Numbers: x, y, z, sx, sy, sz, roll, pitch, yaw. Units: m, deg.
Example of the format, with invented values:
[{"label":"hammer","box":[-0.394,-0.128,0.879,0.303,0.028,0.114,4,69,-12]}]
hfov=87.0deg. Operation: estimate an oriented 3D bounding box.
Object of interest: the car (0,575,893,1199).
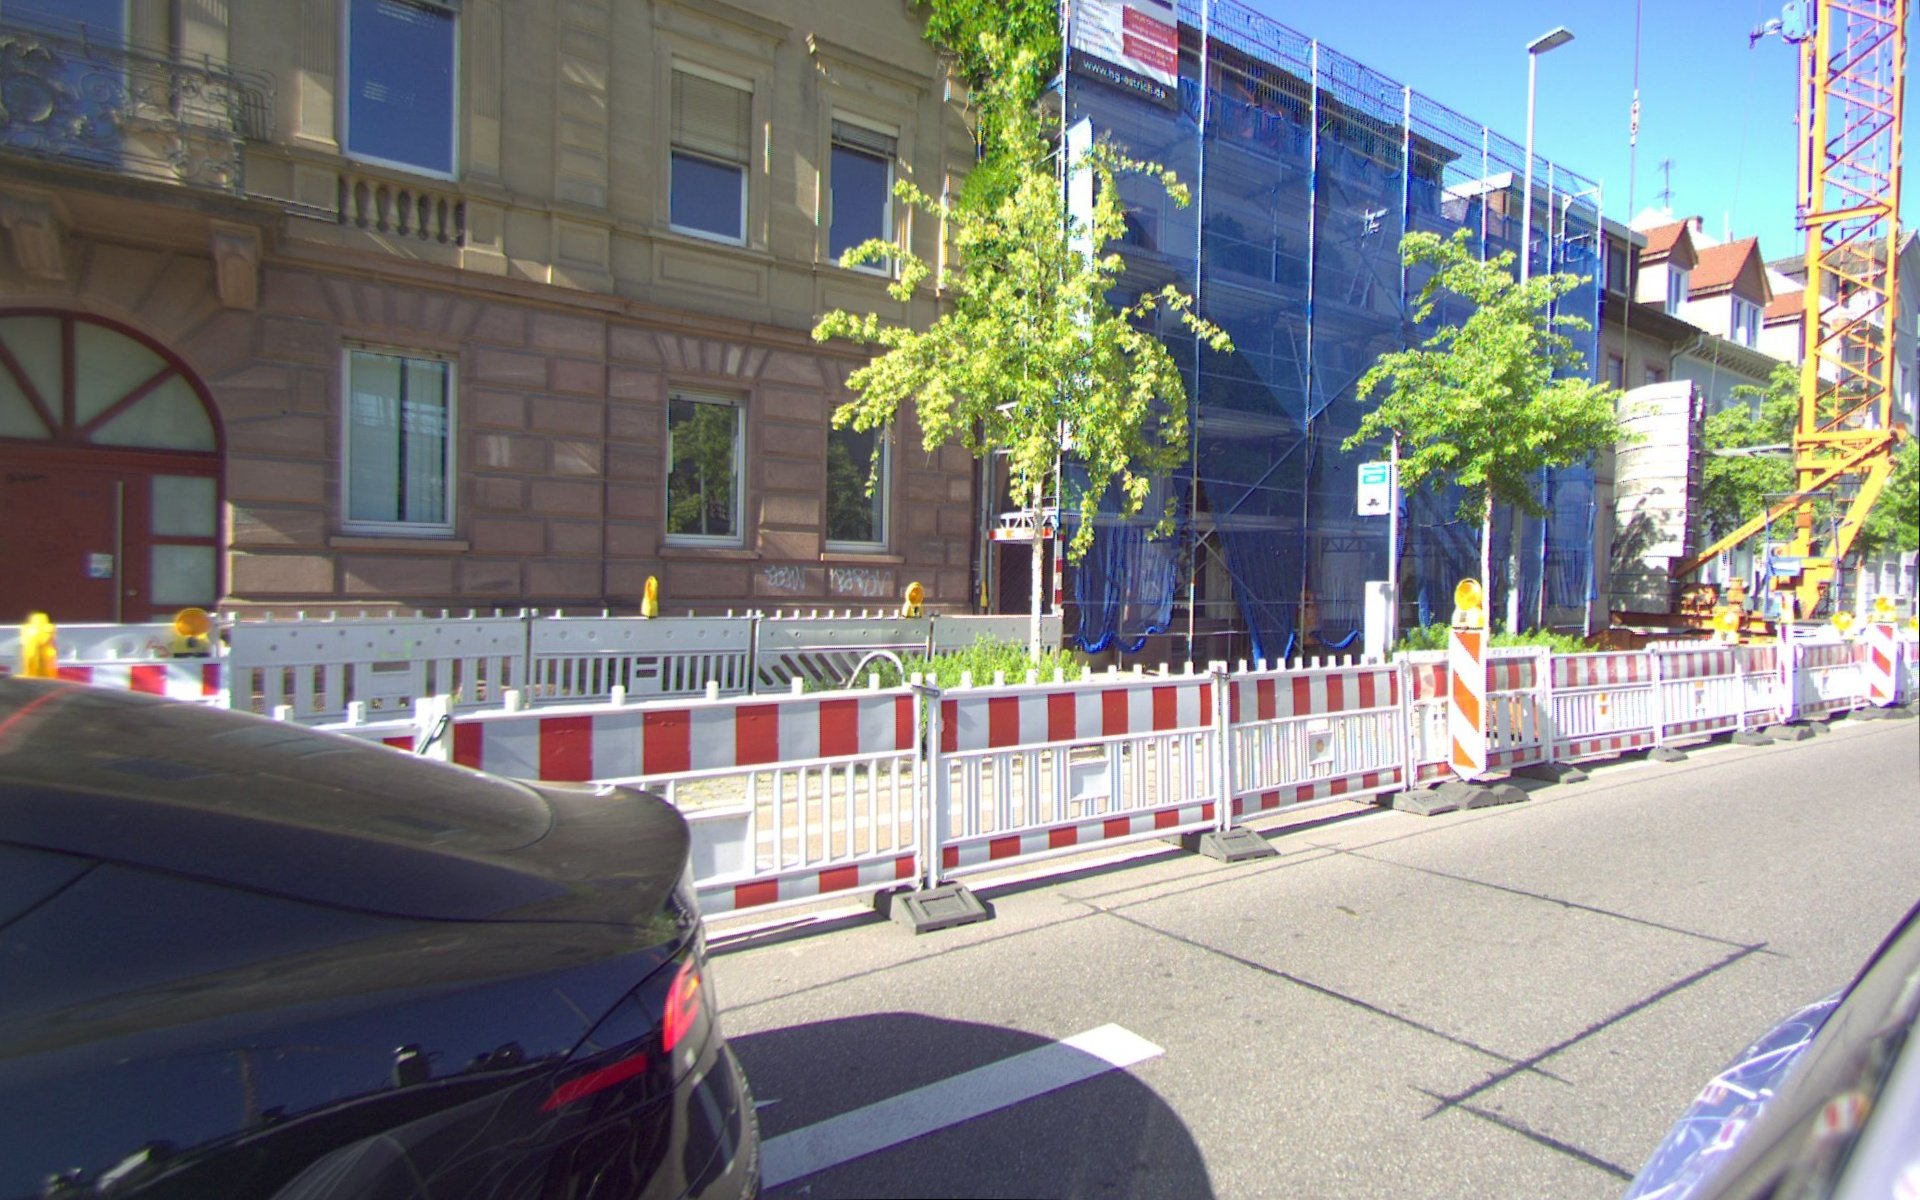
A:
[{"label":"car","box":[-2.494,0.704,0.978,4.437,1.462,2.058,0,0,-34]}]
